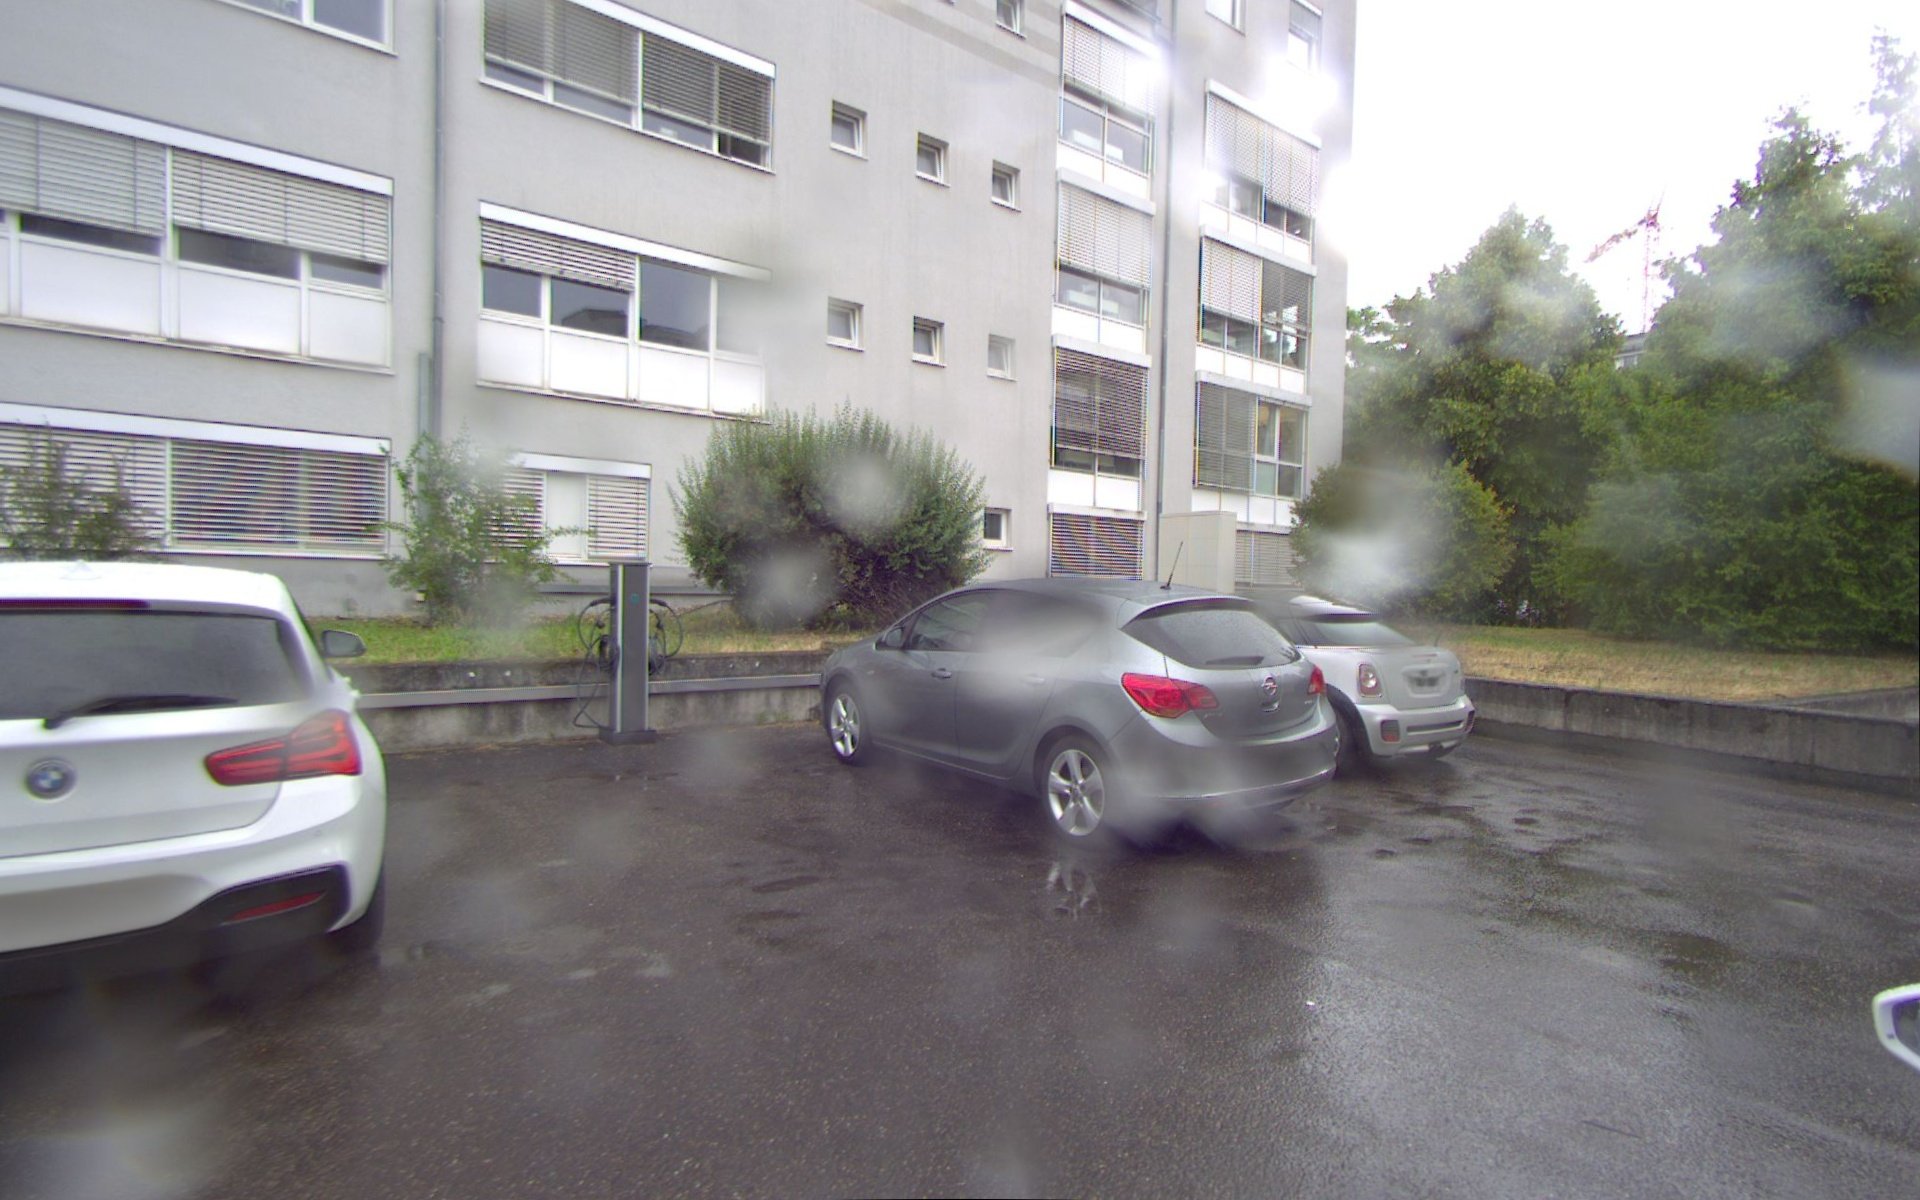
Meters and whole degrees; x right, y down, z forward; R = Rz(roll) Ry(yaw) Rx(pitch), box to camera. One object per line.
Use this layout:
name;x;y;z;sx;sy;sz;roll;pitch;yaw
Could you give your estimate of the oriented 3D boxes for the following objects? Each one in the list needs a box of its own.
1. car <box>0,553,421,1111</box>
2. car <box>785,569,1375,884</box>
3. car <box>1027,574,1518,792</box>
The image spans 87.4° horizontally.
car;-3.624;0.546;4.328;1.737;1.453;4.110;1;1;-36
car;0.509;0.566;7.092;1.805;1.504;4.135;0;2;-36
car;2.633;0.557;9.429;1.804;1.351;4.137;0;4;-35
